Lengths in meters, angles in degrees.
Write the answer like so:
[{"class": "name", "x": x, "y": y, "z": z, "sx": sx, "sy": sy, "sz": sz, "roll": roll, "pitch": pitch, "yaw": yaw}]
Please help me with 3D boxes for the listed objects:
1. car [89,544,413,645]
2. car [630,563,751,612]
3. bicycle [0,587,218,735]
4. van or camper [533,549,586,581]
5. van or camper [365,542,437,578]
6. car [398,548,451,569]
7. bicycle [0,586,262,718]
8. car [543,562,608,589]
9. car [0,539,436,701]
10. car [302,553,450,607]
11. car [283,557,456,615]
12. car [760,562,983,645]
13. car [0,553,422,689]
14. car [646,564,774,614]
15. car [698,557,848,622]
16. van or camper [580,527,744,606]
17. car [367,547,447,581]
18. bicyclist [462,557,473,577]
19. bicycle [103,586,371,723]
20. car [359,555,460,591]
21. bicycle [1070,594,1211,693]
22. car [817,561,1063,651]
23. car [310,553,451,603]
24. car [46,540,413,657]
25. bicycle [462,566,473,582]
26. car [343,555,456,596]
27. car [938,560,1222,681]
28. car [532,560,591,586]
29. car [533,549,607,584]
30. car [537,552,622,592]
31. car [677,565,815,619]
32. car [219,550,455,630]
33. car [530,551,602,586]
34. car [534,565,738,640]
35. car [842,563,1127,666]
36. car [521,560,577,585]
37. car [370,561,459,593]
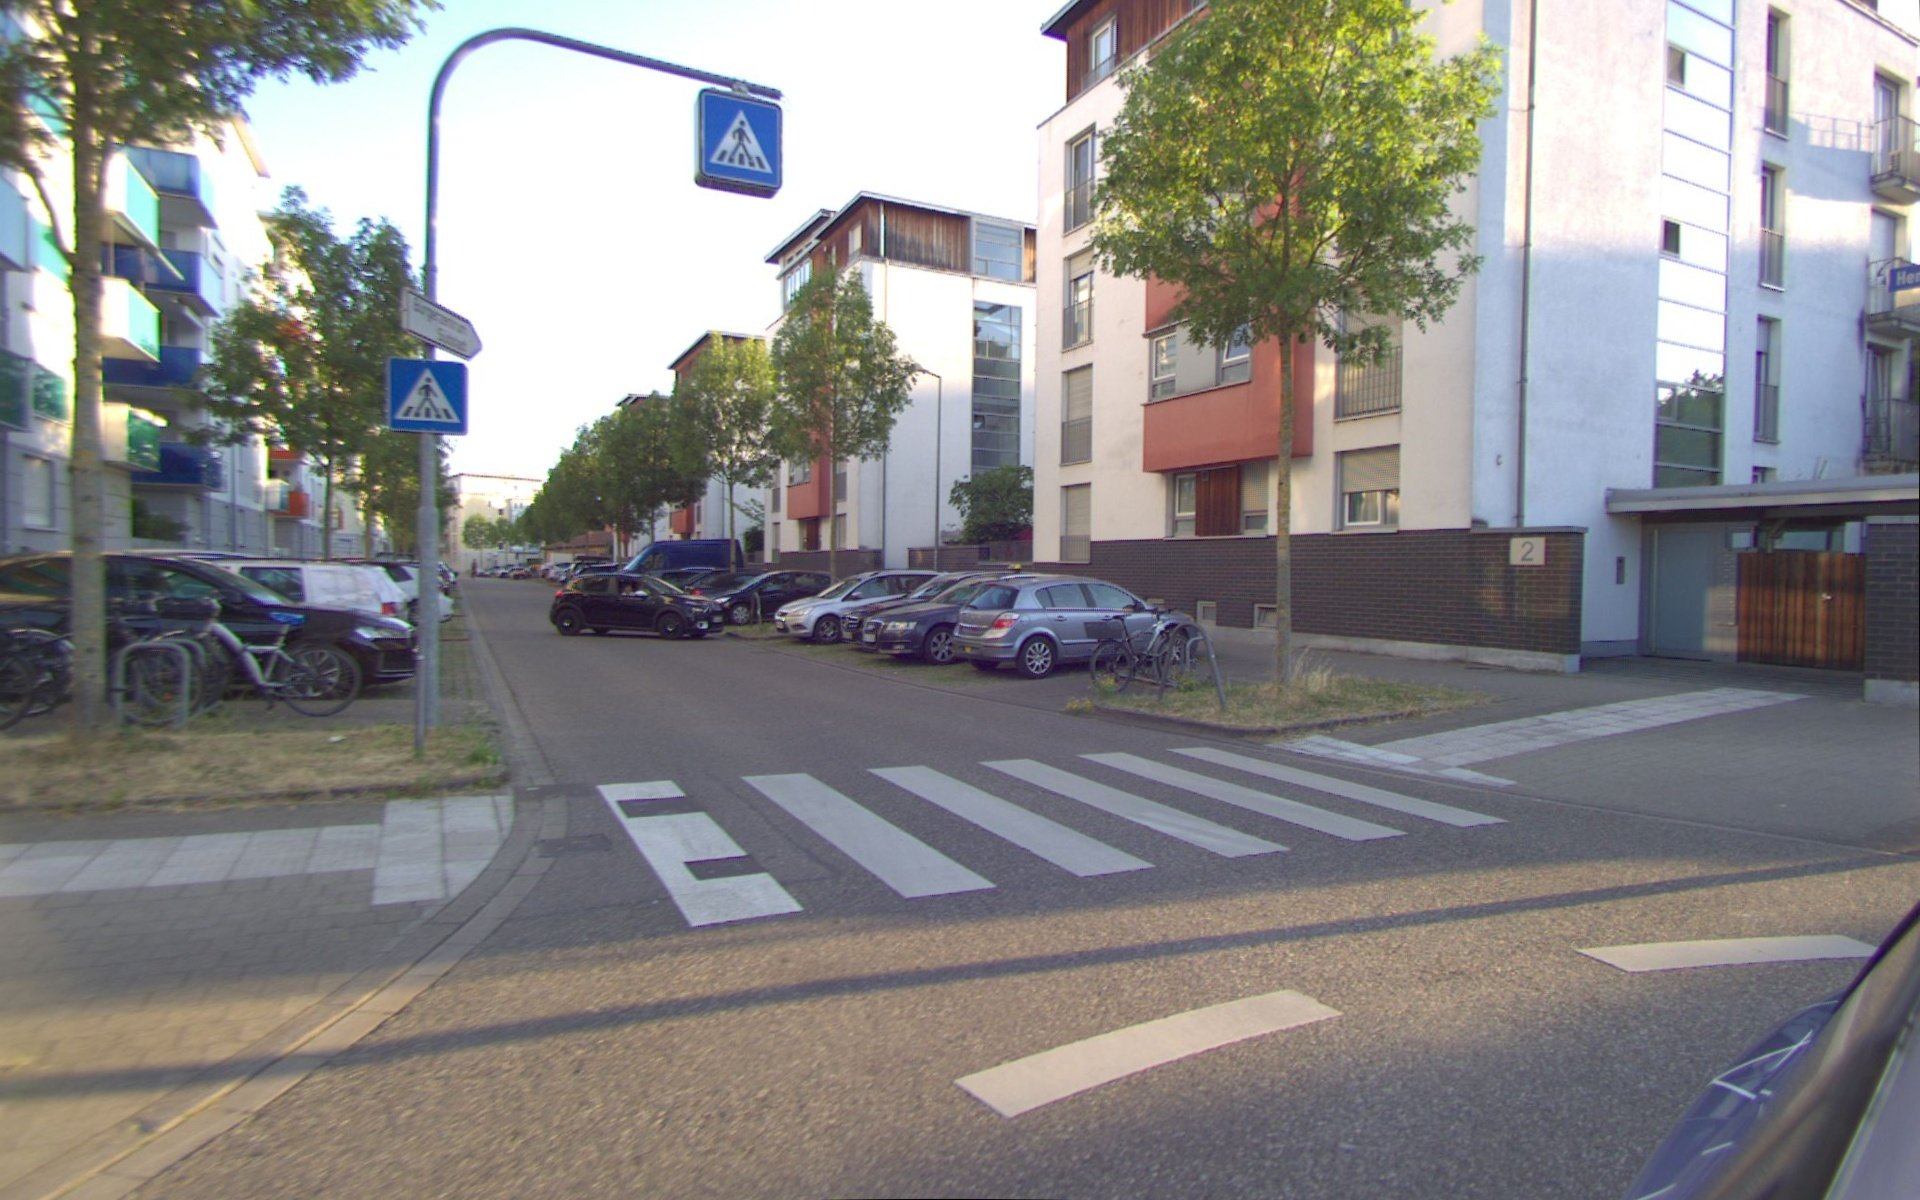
[{"class": "car", "x": -12.011, "y": -0.078, "z": 17.487, "sx": 4.206, "sy": 1.476, "sz": 1.746, "roll": 2, "pitch": 0, "yaw": -18}, {"class": "car", "x": -10.156, "y": -0.467, "z": 38.226, "sx": 4.022, "sy": 1.646, "sz": 1.726, "roll": 2, "pitch": 0, "yaw": -31}, {"class": "bicycle", "x": -6.781, "y": 0.446, "z": 7.685, "sx": 1.757, "sy": 1.055, "sz": 0.567, "roll": 2, "pitch": -1, "yaw": -31}, {"class": "van or camper", "x": -35.496, "y": -3.078, "z": 89.762, "sx": 4.166, "sy": 2.567, "sz": 1.763, "roll": 2, "pitch": 0, "yaw": -26}, {"class": "van or camper", "x": -37.958, "y": -2.690, "z": 68.843, "sx": 4.167, "sy": 2.239, "sz": 1.695, "roll": 2, "pitch": 0, "yaw": -27}, {"class": "car", "x": -48.707, "y": -3.758, "z": 92.104, "sx": 4.166, "sy": 1.659, "sz": 1.695, "roll": 2, "pitch": 0, "yaw": -26}, {"class": "bicycle", "x": -7.275, "y": 0.444, "z": 8.730, "sx": 1.995, "sy": 1.059, "sz": 0.474, "roll": 2, "pitch": -1, "yaw": -31}, {"class": "car", "x": -28.178, "y": -1.784, "z": 74.188, "sx": 4.167, "sy": 1.809, "sz": 1.695, "roll": 2, "pitch": 0, "yaw": -28}, {"class": "car", "x": -8.251, "y": 0.203, "z": 10.569, "sx": 4.789, "sy": 1.476, "sz": 1.941, "roll": 2, "pitch": 0, "yaw": -25}, {"class": "car", "x": -18.958, "y": -0.628, "z": 32.963, "sx": 4.022, "sy": 1.528, "sz": 1.668, "roll": 2, "pitch": 0, "yaw": -31}, {"class": "car", "x": -15.766, "y": -0.357, "z": 27.148, "sx": 3.843, "sy": 1.361, "sz": 1.726, "roll": 2, "pitch": 0, "yaw": -31}, {"class": "car", "x": -1.942, "y": 0.006, "z": 22.713, "sx": 4.669, "sy": 1.604, "sz": 1.760, "roll": -3, "pitch": 2, "yaw": -31}, {"class": "car", "x": -9.415, "y": 0.188, "z": 12.962, "sx": 4.324, "sy": 1.527, "sz": 1.746, "roll": -1, "pitch": 1, "yaw": -24}, {"class": "car", "x": -8.808, "y": -0.431, "z": 35.730, "sx": 4.024, "sy": 1.645, "sz": 1.726, "roll": -2, "pitch": 2, "yaw": -31}, {"class": "car", "x": -5.323, "y": -0.336, "z": 28.912, "sx": 3.844, "sy": 1.731, "sz": 1.726, "roll": -2, "pitch": 2, "yaw": -31}, {"class": "van or camper", "x": -12.558, "y": -1.453, "z": 42.797, "sx": 6.194, "sy": 3.125, "sz": 2.445, "roll": -2, "pitch": 2, "yaw": -31}, {"class": "car", "x": -33.904, "y": -2.196, "z": 62.150, "sx": 4.166, "sy": 1.801, "sz": 1.695, "roll": 2, "pitch": 0, "yaw": -26}, {"class": "bicyclist", "x": -40.350, "y": -2.729, "z": 82.927, "sx": 0.752, "sy": 1.648, "sz": 0.664, "roll": -1, "pitch": 1, "yaw": -28}, {"class": "bicycle", "x": -6.148, "y": 0.459, "z": 8.730, "sx": 1.803, "sy": 1.085, "sz": 0.474, "roll": 2, "pitch": -1, "yaw": -31}, {"class": "car", "x": -26.792, "y": -1.295, "z": 49.415, "sx": 4.166, "sy": 1.556, "sz": 1.695, "roll": 2, "pitch": 0, "yaw": -26}, {"class": "bicycle", "x": 2.328, "y": 0.529, "z": 12.952, "sx": 1.787, "sy": 1.079, "sz": 0.568, "roll": -4, "pitch": 3, "yaw": -29}, {"class": "car", "x": -0.389, "y": 0.049, "z": 20.656, "sx": 4.690, "sy": 1.574, "sz": 1.714, "roll": -3, "pitch": 2, "yaw": -23}, {"class": "car", "x": -20.353, "y": -0.766, "z": 35.629, "sx": 4.169, "sy": 1.528, "sz": 1.754, "roll": 2, "pitch": 0, "yaw": -31}, {"class": "car", "x": -10.688, "y": 0.010, "z": 15.252, "sx": 4.208, "sy": 1.513, "sz": 1.745, "roll": 2, "pitch": 0, "yaw": -28}, {"class": "bicycle", "x": -40.293, "y": -2.144, "z": 82.811, "sx": 0.756, "sy": 1.283, "sz": 1.784, "roll": -1, "pitch": 1, "yaw": -28}, {"class": "car", "x": -24.399, "y": -1.035, "z": 44.215, "sx": 4.166, "sy": 1.556, "sz": 1.695, "roll": 2, "pitch": 0, "yaw": -26}, {"class": "car", "x": 1.926, "y": 0.229, "z": 15.911, "sx": 4.210, "sy": 1.475, "sz": 1.683, "roll": -5, "pitch": 3, "yaw": -29}, {"class": "car", "x": -31.589, "y": -2.102, "z": 80.166, "sx": 4.166, "sy": 1.809, "sz": 1.695, "roll": 2, "pitch": 0, "yaw": -26}, {"class": "car", "x": -24.898, "y": -2.129, "z": 64.599, "sx": 4.167, "sy": 1.955, "sz": 1.695, "roll": 2, "pitch": 0, "yaw": -28}, {"class": "car", "x": -20.985, "y": -1.542, "z": 55.836, "sx": 4.167, "sy": 1.955, "sz": 1.695, "roll": 2, "pitch": 0, "yaw": -28}, {"class": "car", "x": -6.609, "y": -0.295, "z": 31.378, "sx": 3.844, "sy": 1.534, "sz": 1.726, "roll": -2, "pitch": 2, "yaw": -31}, {"class": "car", "x": -13.469, "y": -0.198, "z": 22.132, "sx": 4.210, "sy": 1.527, "sz": 1.687, "roll": 2, "pitch": 0, "yaw": -30}, {"class": "car", "x": -25.865, "y": -2.036, "z": 66.404, "sx": 4.167, "sy": 2.028, "sz": 1.695, "roll": 2, "pitch": 0, "yaw": -28}, {"class": "car", "x": -7.432, "y": 0.049, "z": 23.433, "sx": 4.108, "sy": 1.481, "sz": 1.774, "roll": 3, "pitch": 0, "yaw": 8}, {"class": "car", "x": 0.496, "y": 0.172, "z": 17.915, "sx": 4.821, "sy": 1.496, "sz": 1.713, "roll": -3, "pitch": 2, "yaw": -29}, {"class": "car", "x": -34.134, "y": -2.285, "z": 84.065, "sx": 4.166, "sy": 1.809, "sz": 1.695, "roll": 2, "pitch": 0, "yaw": -26}, {"class": "car", "x": -29.814, "y": -1.235, "z": 55.467, "sx": 4.166, "sy": 1.556, "sz": 1.695, "roll": 2, "pitch": 0, "yaw": -26}]
